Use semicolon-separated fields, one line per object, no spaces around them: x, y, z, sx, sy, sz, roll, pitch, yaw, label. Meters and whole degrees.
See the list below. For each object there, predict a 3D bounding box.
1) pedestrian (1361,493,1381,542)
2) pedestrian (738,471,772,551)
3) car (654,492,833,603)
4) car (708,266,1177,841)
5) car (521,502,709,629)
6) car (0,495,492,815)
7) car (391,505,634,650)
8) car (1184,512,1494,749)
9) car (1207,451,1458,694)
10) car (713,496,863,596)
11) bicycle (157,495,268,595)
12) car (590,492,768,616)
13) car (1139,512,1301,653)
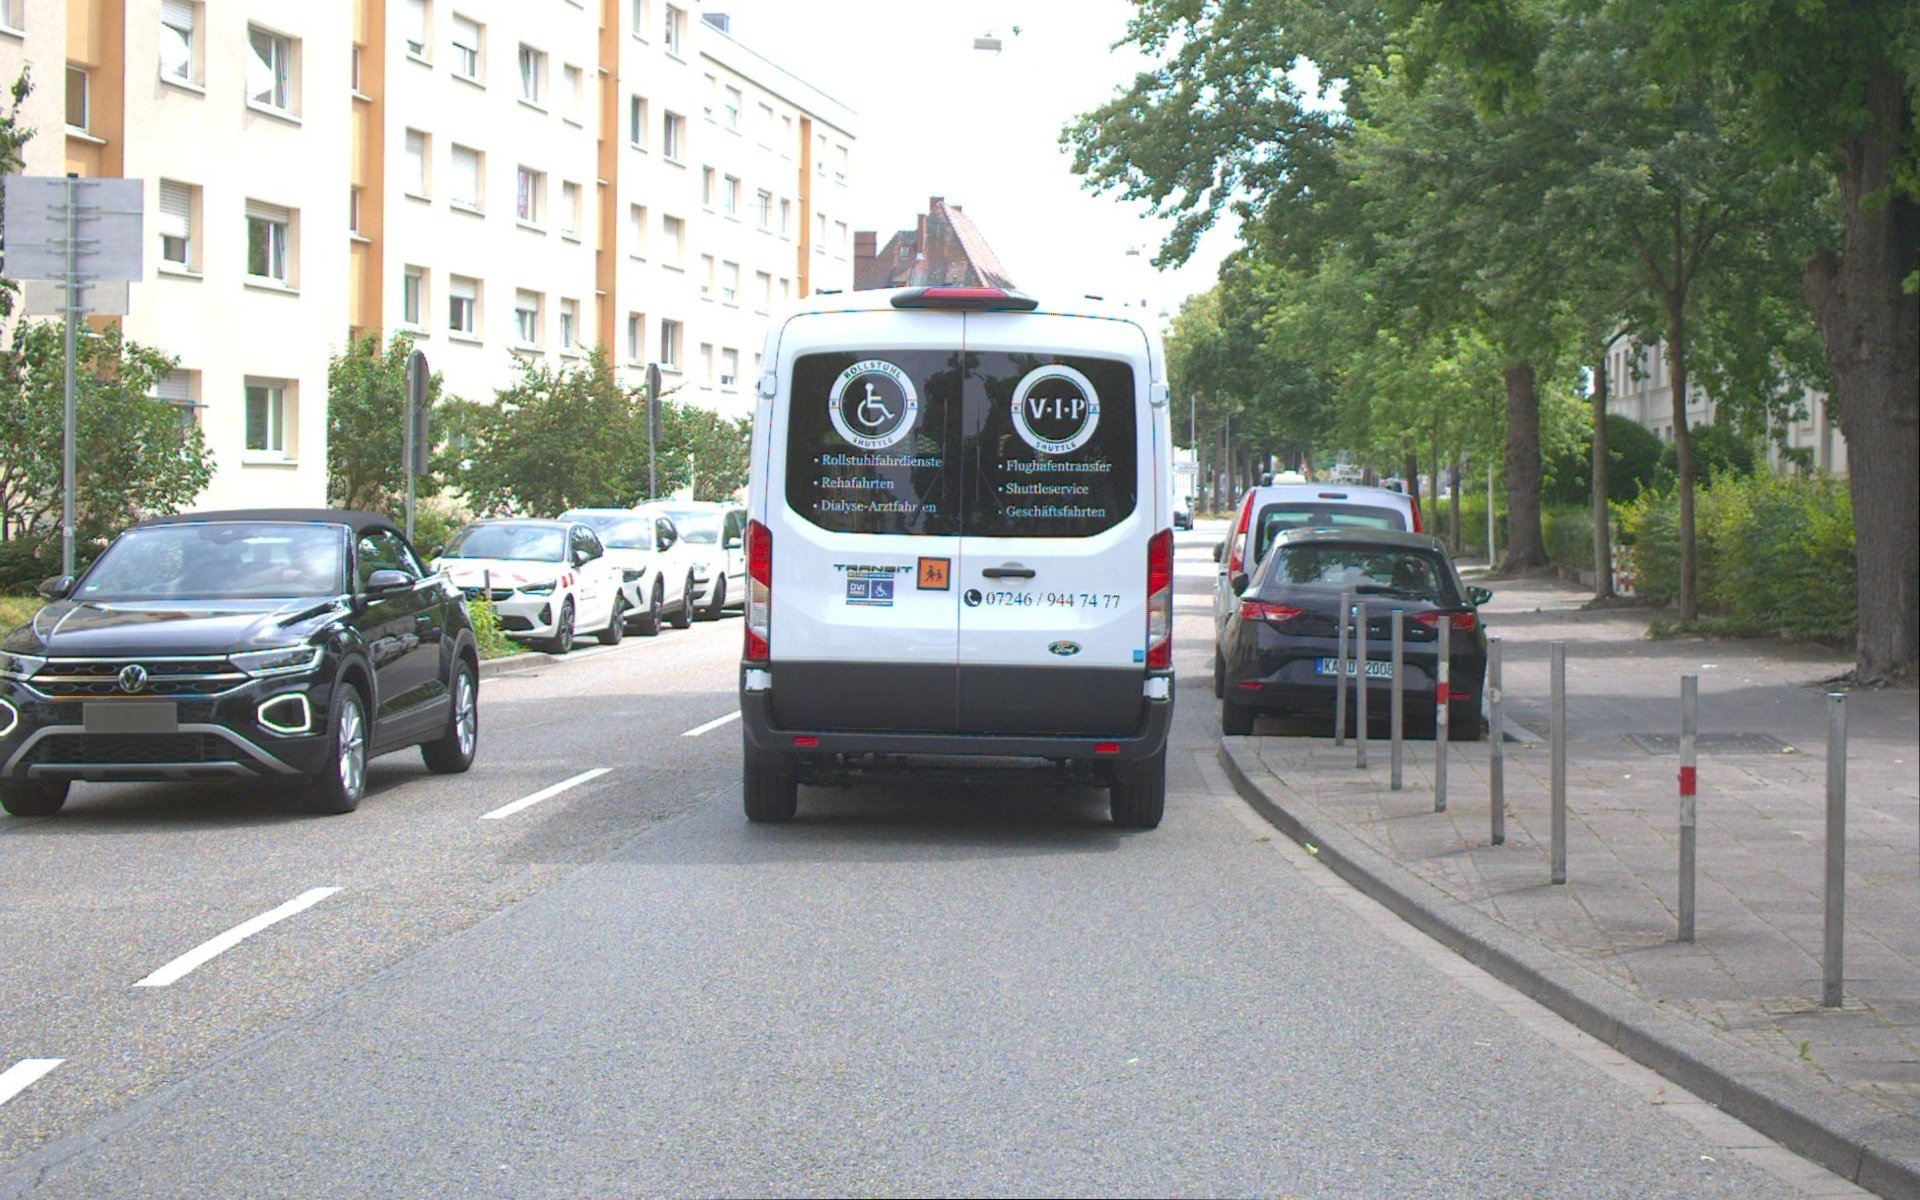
15.330;-3.075;128.318;0.522;1.822;0.524;-1;2;-36;pedestrian
-4.740;-2.062;79.594;0.619;1.806;0.899;2;1;3;pedestrian
-3.391;-0.863;54.760;1.943;1.607;4.860;3;2;7;car
0.056;-0.255;17.514;2.070;2.531;4.634;0;1;3;car
-4.337;-0.477;43.722;1.709;1.468;3.989;2;2;3;car
-3.758;0.200;18.362;1.697;1.513;4.000;0;2;4;car
-4.943;-0.289;38.470;1.709;1.468;3.988;3;2;7;car
2.657;0.138;24.096;1.918;1.439;4.238;2;2;6;car
3.247;-0.289;29.905;1.918;1.859;4.845;3;2;6;car
-2.976;-0.976;60.392;1.943;1.607;4.301;3;2;6;car
-9.824;-0.736;45.231;0.579;1.246;1.932;2;3;16;bicycle
-3.956;-0.688;49.094;1.697;1.607;4.476;3;2;6;car
2.914;-0.237;38.873;1.697;1.445;4.101;2;2;4;car
